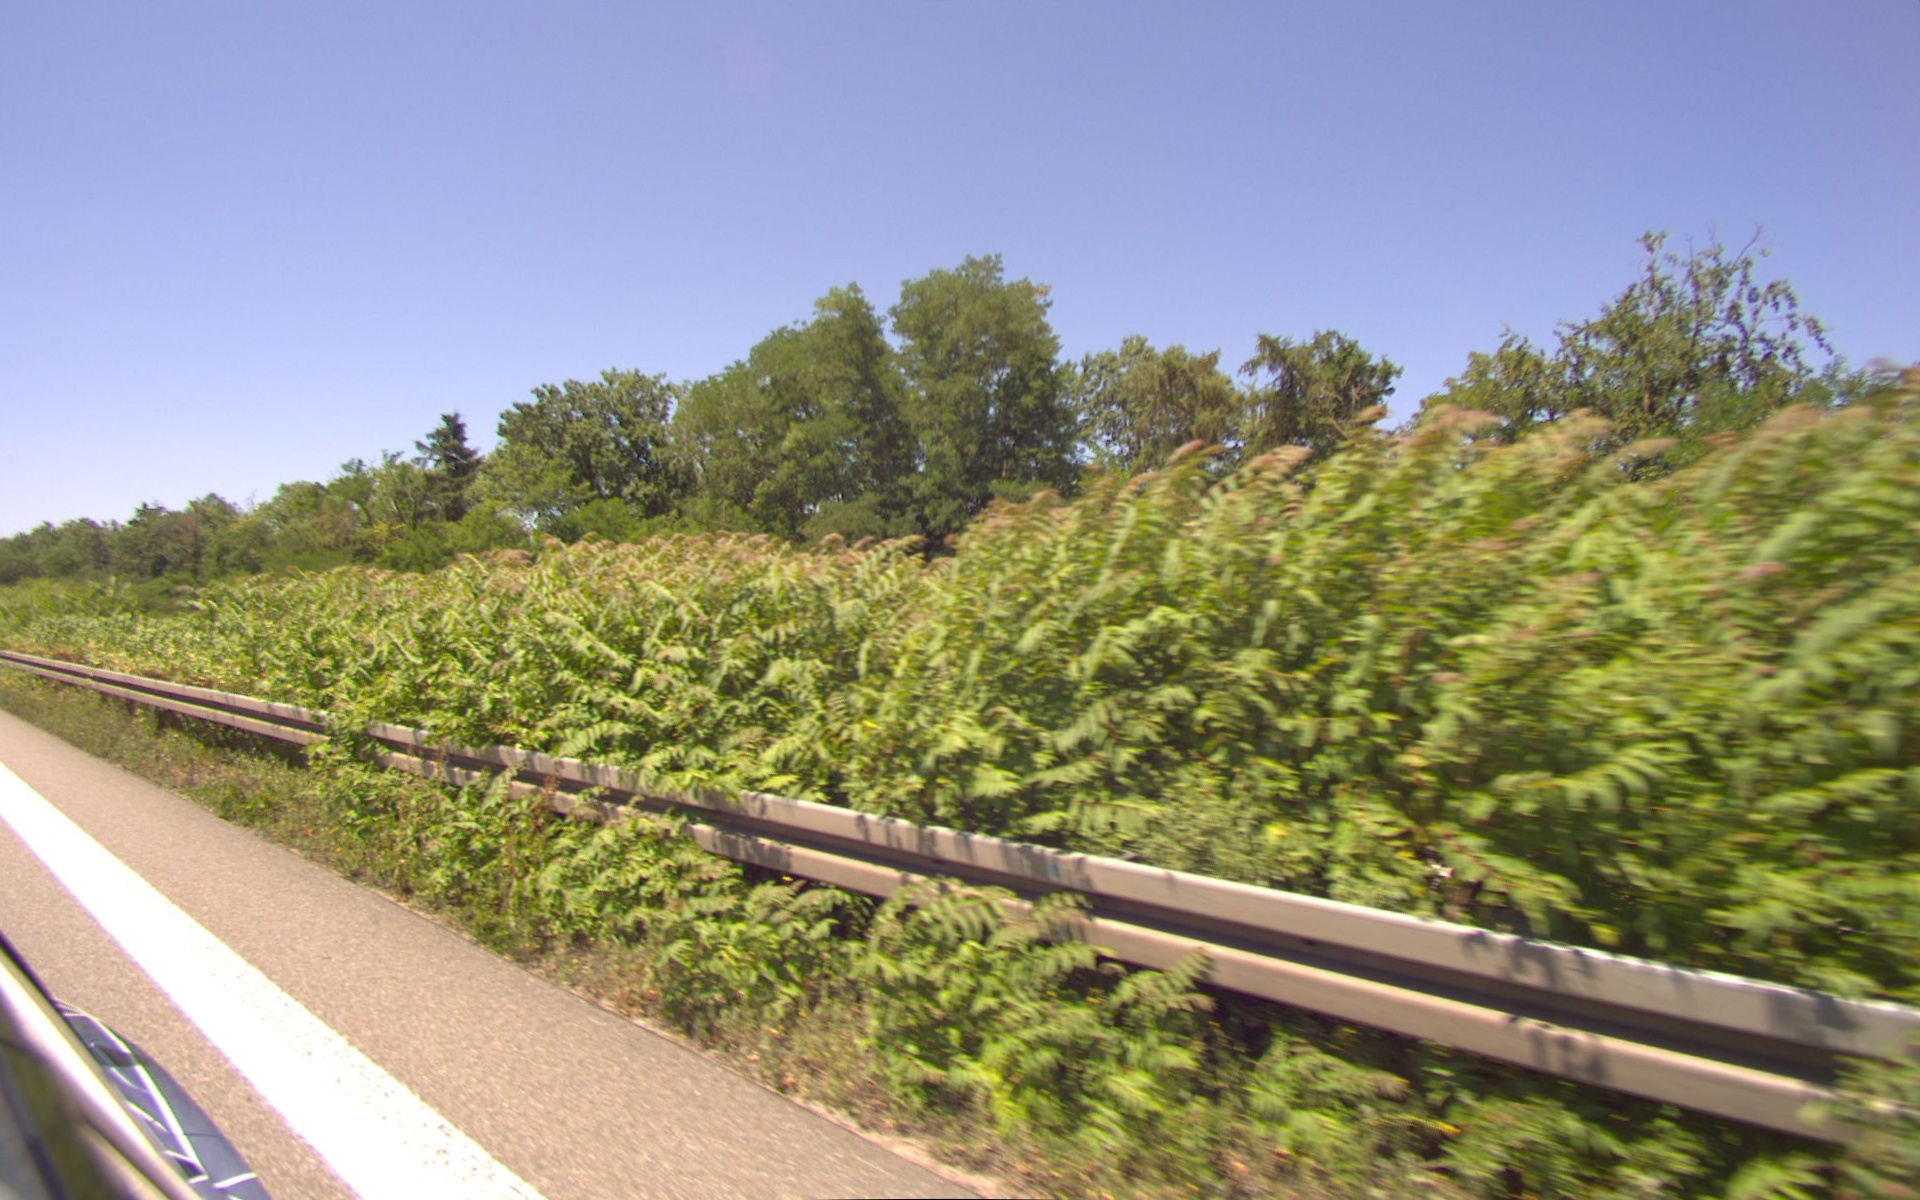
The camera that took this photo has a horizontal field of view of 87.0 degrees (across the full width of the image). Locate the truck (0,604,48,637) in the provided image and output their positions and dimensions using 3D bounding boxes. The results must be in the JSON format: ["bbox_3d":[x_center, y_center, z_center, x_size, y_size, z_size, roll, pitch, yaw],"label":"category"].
[{"bbox_3d":[-105.691,2.314,114.077,11.974,3.459,2.758,-1,-3,41],"label":"truck"}]
